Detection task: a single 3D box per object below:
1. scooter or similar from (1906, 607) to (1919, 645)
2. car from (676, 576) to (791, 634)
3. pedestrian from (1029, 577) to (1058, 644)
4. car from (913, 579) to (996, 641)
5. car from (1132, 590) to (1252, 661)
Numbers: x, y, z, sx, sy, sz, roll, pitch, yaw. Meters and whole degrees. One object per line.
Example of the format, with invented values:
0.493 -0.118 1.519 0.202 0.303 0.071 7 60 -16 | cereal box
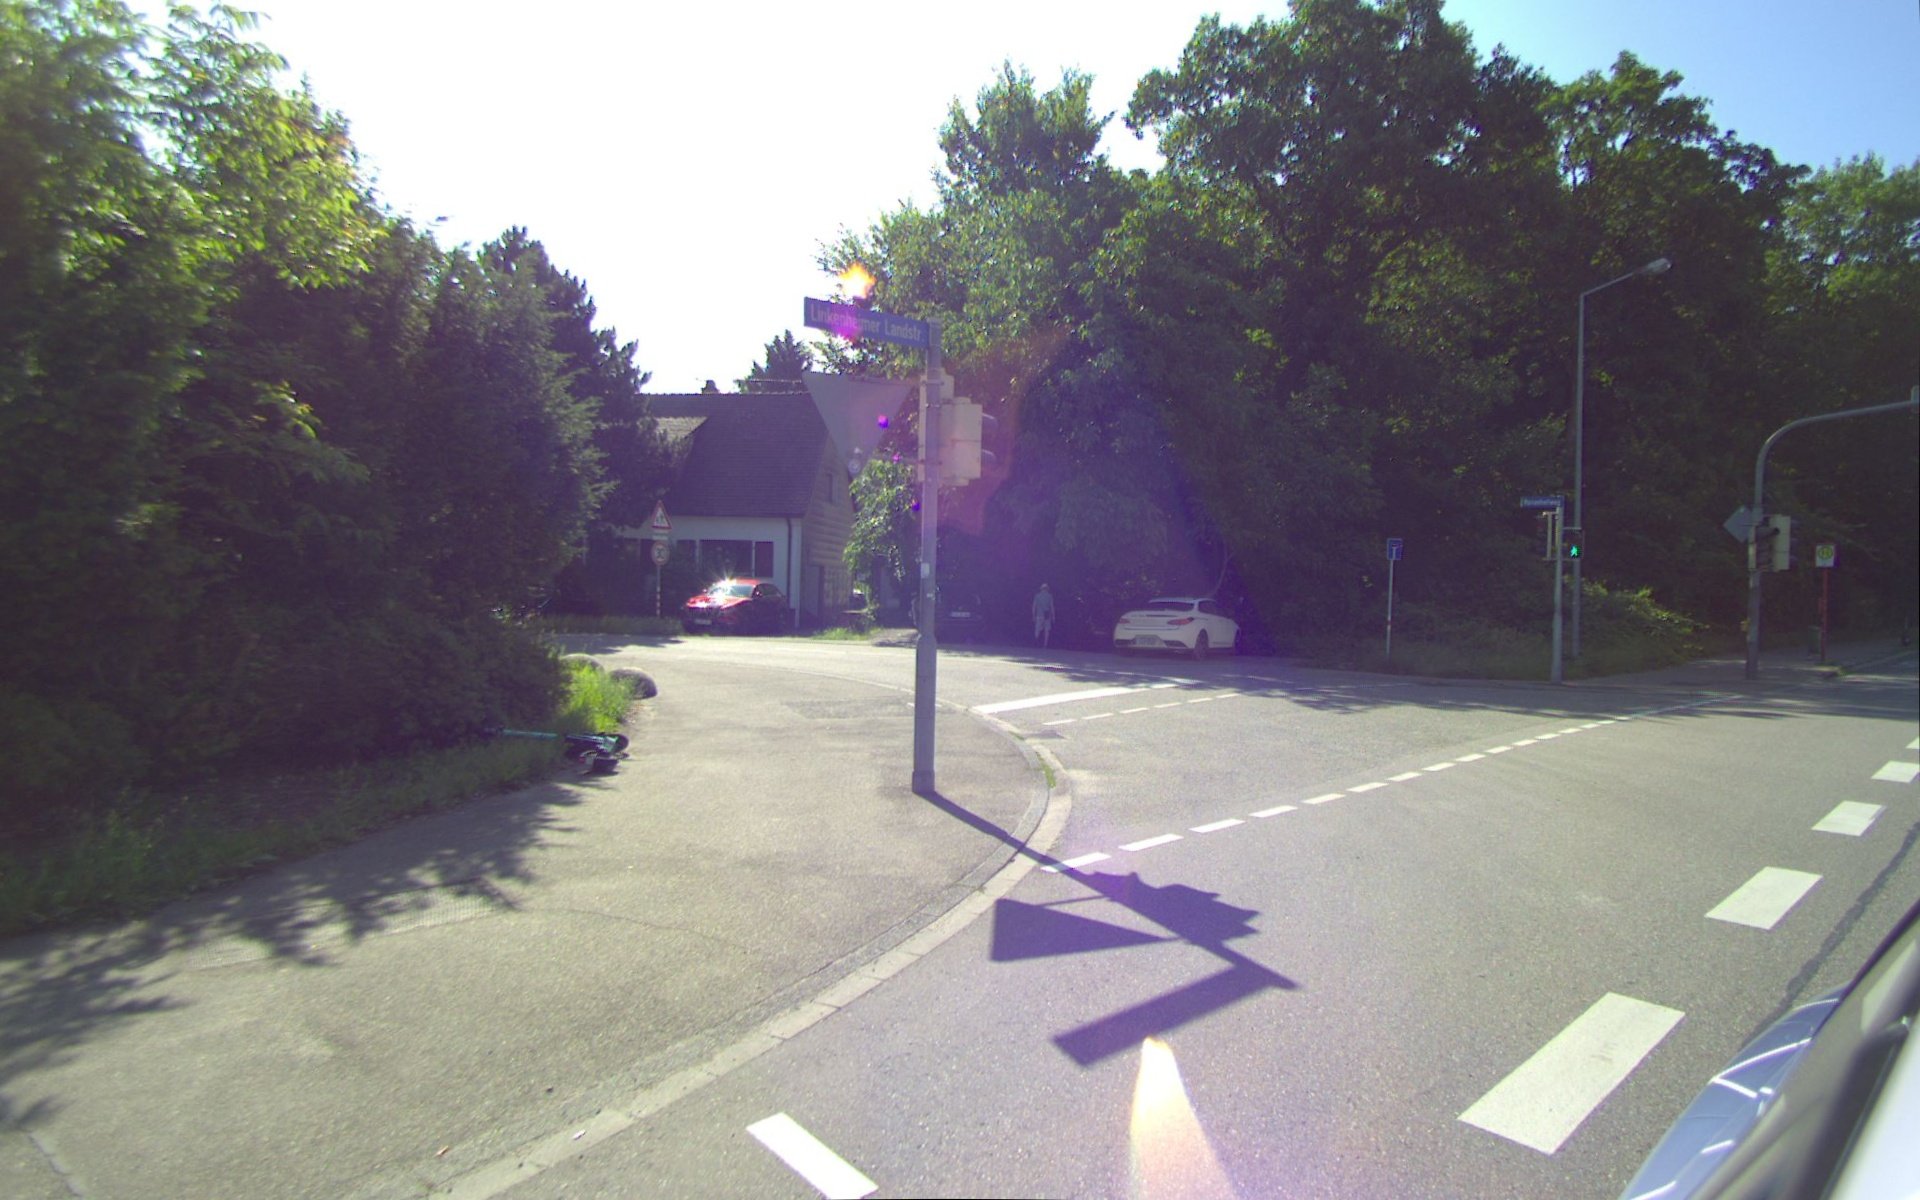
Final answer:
34.225 0.913 36.156 0.398 1.323 1.314 2 1 34 | scooter or similar
-6.312 0.086 28.664 1.605 1.482 3.971 2 1 13 | car
2.084 0.265 25.293 0.597 1.650 0.415 1 1 -13 | pedestrian
-0.226 0.207 26.742 1.595 1.482 3.797 1 1 -9 | car
5.651 0.521 24.237 1.614 1.482 4.569 2 1 28 | car
